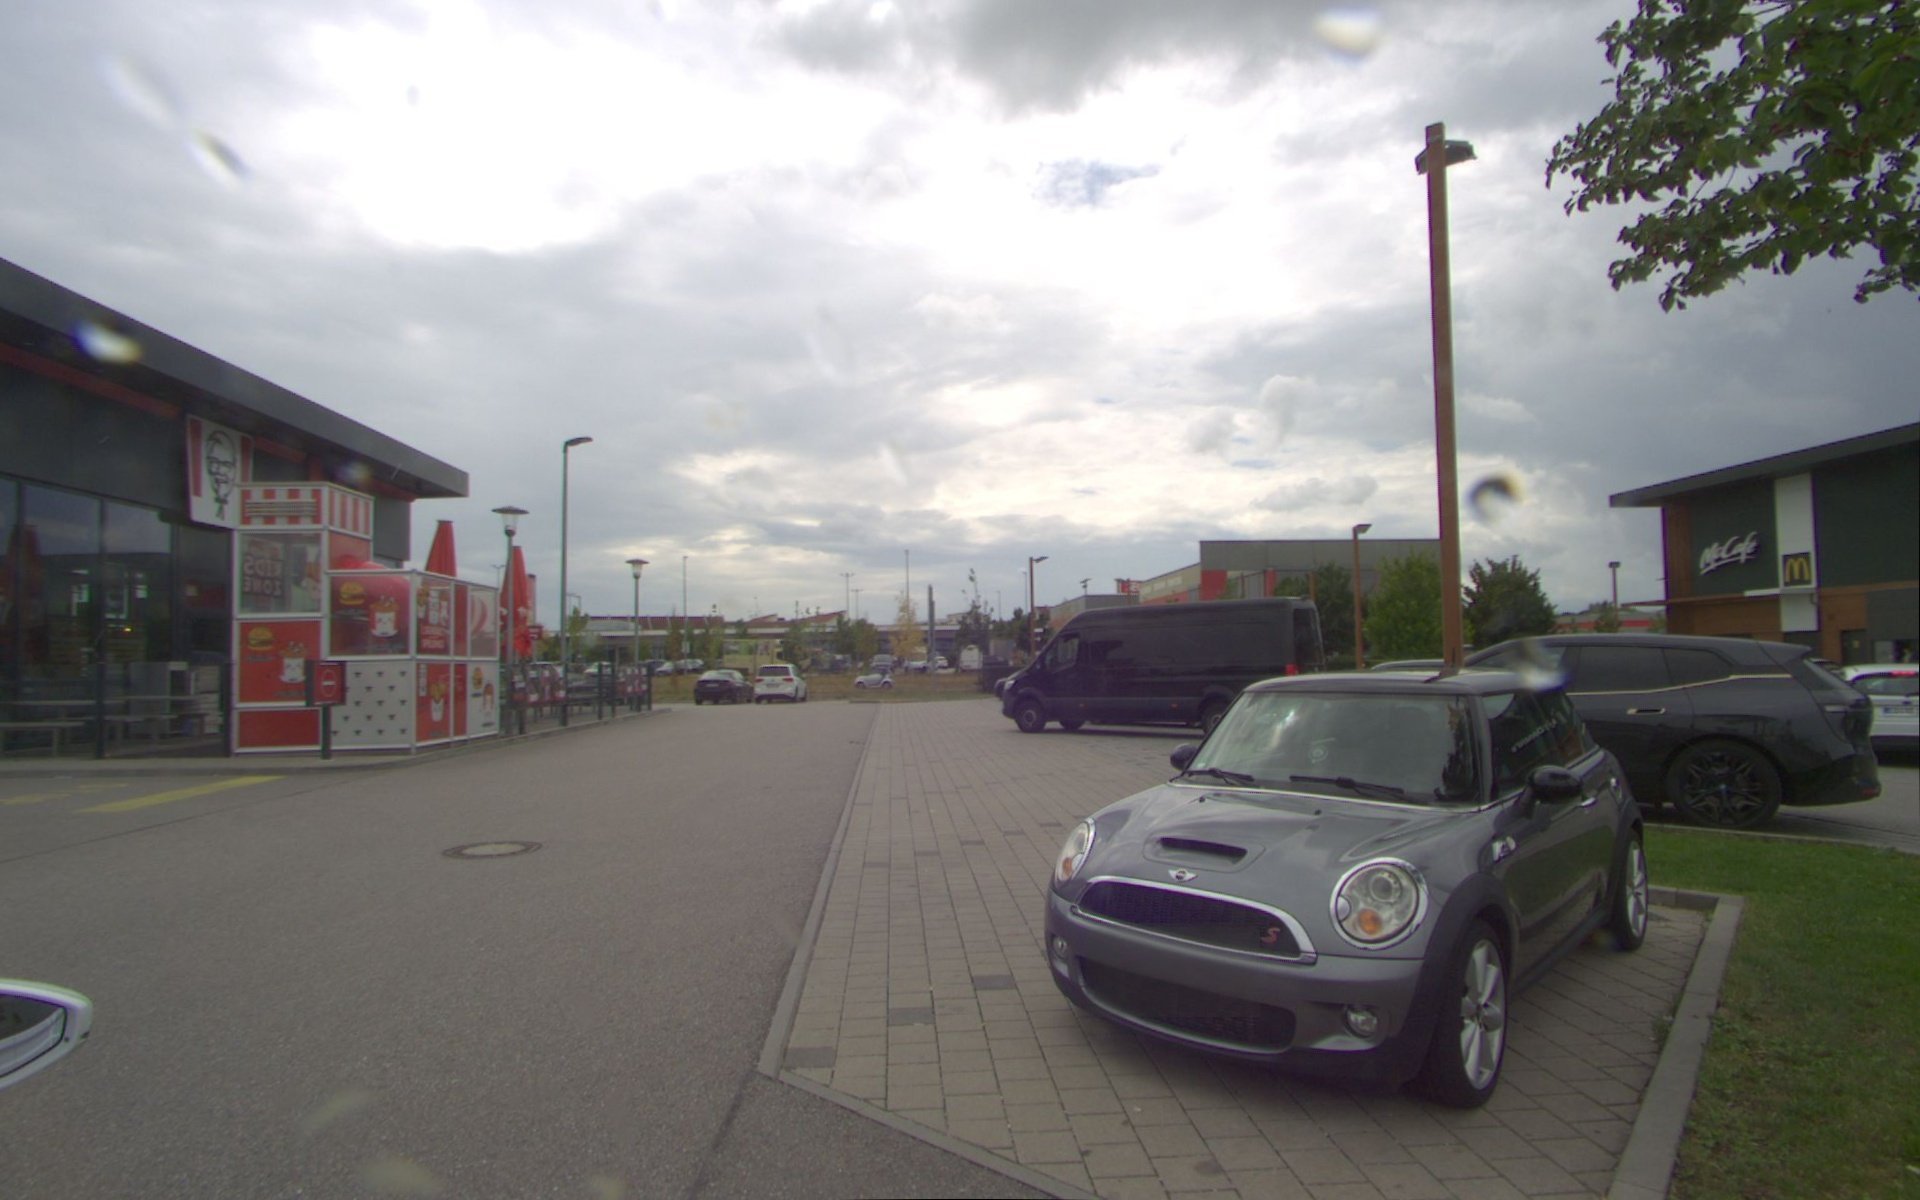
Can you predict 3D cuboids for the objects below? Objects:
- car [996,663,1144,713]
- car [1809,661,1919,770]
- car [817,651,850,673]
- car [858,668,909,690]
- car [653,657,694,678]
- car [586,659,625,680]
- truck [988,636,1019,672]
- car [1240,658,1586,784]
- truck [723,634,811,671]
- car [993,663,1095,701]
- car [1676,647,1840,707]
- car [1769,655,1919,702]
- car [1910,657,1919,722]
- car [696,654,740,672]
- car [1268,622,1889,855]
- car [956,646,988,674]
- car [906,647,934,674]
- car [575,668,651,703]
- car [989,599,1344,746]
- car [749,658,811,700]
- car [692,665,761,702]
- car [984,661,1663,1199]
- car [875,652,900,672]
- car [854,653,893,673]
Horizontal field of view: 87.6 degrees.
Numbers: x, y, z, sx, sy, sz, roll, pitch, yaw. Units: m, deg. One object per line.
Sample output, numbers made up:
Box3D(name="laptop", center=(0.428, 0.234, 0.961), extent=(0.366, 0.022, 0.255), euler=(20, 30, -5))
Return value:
Box3D(name="car", center=(3.412, 2.728, 31.483), extent=(4.404, 1.429, 1.743), euler=(-2, -4, 37))
Box3D(name="car", center=(14.099, 1.667, 15.057), extent=(1.820, 1.471, 3.551), euler=(-2, -4, 38))
Box3D(name="car", center=(-11.299, 5.565, 89.942), extent=(2.037, 1.907, 5.075), euler=(0, -4, 4))
Box3D(name="car", center=(-5.344, 5.503, 69.883), extent=(3.392, 1.388, 1.433), euler=(-1, -2, 2))
Box3D(name="car", center=(-26.127, 6.147, 91.507), extent=(1.895, 1.794, 4.320), euler=(-1, -2, 11))
Box3D(name="car", center=(-32.910, 6.444, 93.061), extent=(1.961, 1.794, 4.323), euler=(-1, -2, 3))
Box3D(name="truck", center=(4.732, 5.921, 110.522), extent=(2.605, 3.791, 8.259), euler=(-1, -2, -3))
Box3D(name="car", center=(5.944, 1.509, 13.278), extent=(3.945, 1.429, 1.824), euler=(-3, -5, 33))
Box3D(name="truck", center=(-17.490, 4.743, 90.604), extent=(8.324, 3.237, 3.010), euler=(-2, -2, 36))
Box3D(name="car", center=(3.416, 3.330, 41.078), extent=(3.878, 1.429, 1.678), euler=(-2, -4, 35))
Box3D(name="car", center=(25.259, 2.395, 31.812), extent=(3.954, 1.772, 1.985), euler=(-2, -2, 40))
Box3D(name="car", center=(31.913, 2.794, 36.260), extent=(1.754, 1.525, 4.001), euler=(-1, -2, -5))
Box3D(name="car", center=(26.185, 2.183, 24.561), extent=(4.049, 1.593, 1.823), euler=(-4, -4, 42))
Box3D(name="car", center=(-25.706, 6.713, 106.545), extent=(4.237, 1.794, 2.001), euler=(-1, -2, -2))
Box3D(name="car", center=(5.775, 1.150, 9.892), extent=(4.841, 1.749, 1.985), euler=(-2, -3, 41))
Box3D(name="car", center=(0.983, 5.305, 89.423), extent=(2.300, 2.296, 6.508), euler=(-1, -2, -4))
Box3D(name="car", center=(-3.539, 5.367, 89.288), extent=(2.369, 2.242, 6.062), euler=(0, -2, -2))
Box3D(name="car", center=(-15.054, 3.750, 43.667), extent=(1.851, 1.428, 4.077), euler=(0, -5, 0))
Box3D(name="car", center=(3.989, 1.435, 20.489), extent=(6.926, 2.584, 2.060), euler=(-2, -4, 38))
Box3D(name="car", center=(-7.777, 3.485, 43.638), extent=(1.953, 1.733, 4.379), euler=(0, -5, -1))
Box3D(name="car", center=(-10.077, 3.652, 43.579), extent=(1.909, 1.483, 4.523), euler=(0, -5, 0))
Box3D(name="car", center=(1.884, 1.030, 4.571), extent=(1.594, 1.393, 3.494), euler=(-2, -2, 45))
Box3D(name="car", center=(-6.444, 5.488, 89.086), extent=(2.037, 1.659, 5.072), euler=(0, -2, -2))
Box3D(name="car", center=(-9.006, 6.566, 104.396), extent=(3.924, 2.039, 2.000), euler=(-1, -2, -9))
